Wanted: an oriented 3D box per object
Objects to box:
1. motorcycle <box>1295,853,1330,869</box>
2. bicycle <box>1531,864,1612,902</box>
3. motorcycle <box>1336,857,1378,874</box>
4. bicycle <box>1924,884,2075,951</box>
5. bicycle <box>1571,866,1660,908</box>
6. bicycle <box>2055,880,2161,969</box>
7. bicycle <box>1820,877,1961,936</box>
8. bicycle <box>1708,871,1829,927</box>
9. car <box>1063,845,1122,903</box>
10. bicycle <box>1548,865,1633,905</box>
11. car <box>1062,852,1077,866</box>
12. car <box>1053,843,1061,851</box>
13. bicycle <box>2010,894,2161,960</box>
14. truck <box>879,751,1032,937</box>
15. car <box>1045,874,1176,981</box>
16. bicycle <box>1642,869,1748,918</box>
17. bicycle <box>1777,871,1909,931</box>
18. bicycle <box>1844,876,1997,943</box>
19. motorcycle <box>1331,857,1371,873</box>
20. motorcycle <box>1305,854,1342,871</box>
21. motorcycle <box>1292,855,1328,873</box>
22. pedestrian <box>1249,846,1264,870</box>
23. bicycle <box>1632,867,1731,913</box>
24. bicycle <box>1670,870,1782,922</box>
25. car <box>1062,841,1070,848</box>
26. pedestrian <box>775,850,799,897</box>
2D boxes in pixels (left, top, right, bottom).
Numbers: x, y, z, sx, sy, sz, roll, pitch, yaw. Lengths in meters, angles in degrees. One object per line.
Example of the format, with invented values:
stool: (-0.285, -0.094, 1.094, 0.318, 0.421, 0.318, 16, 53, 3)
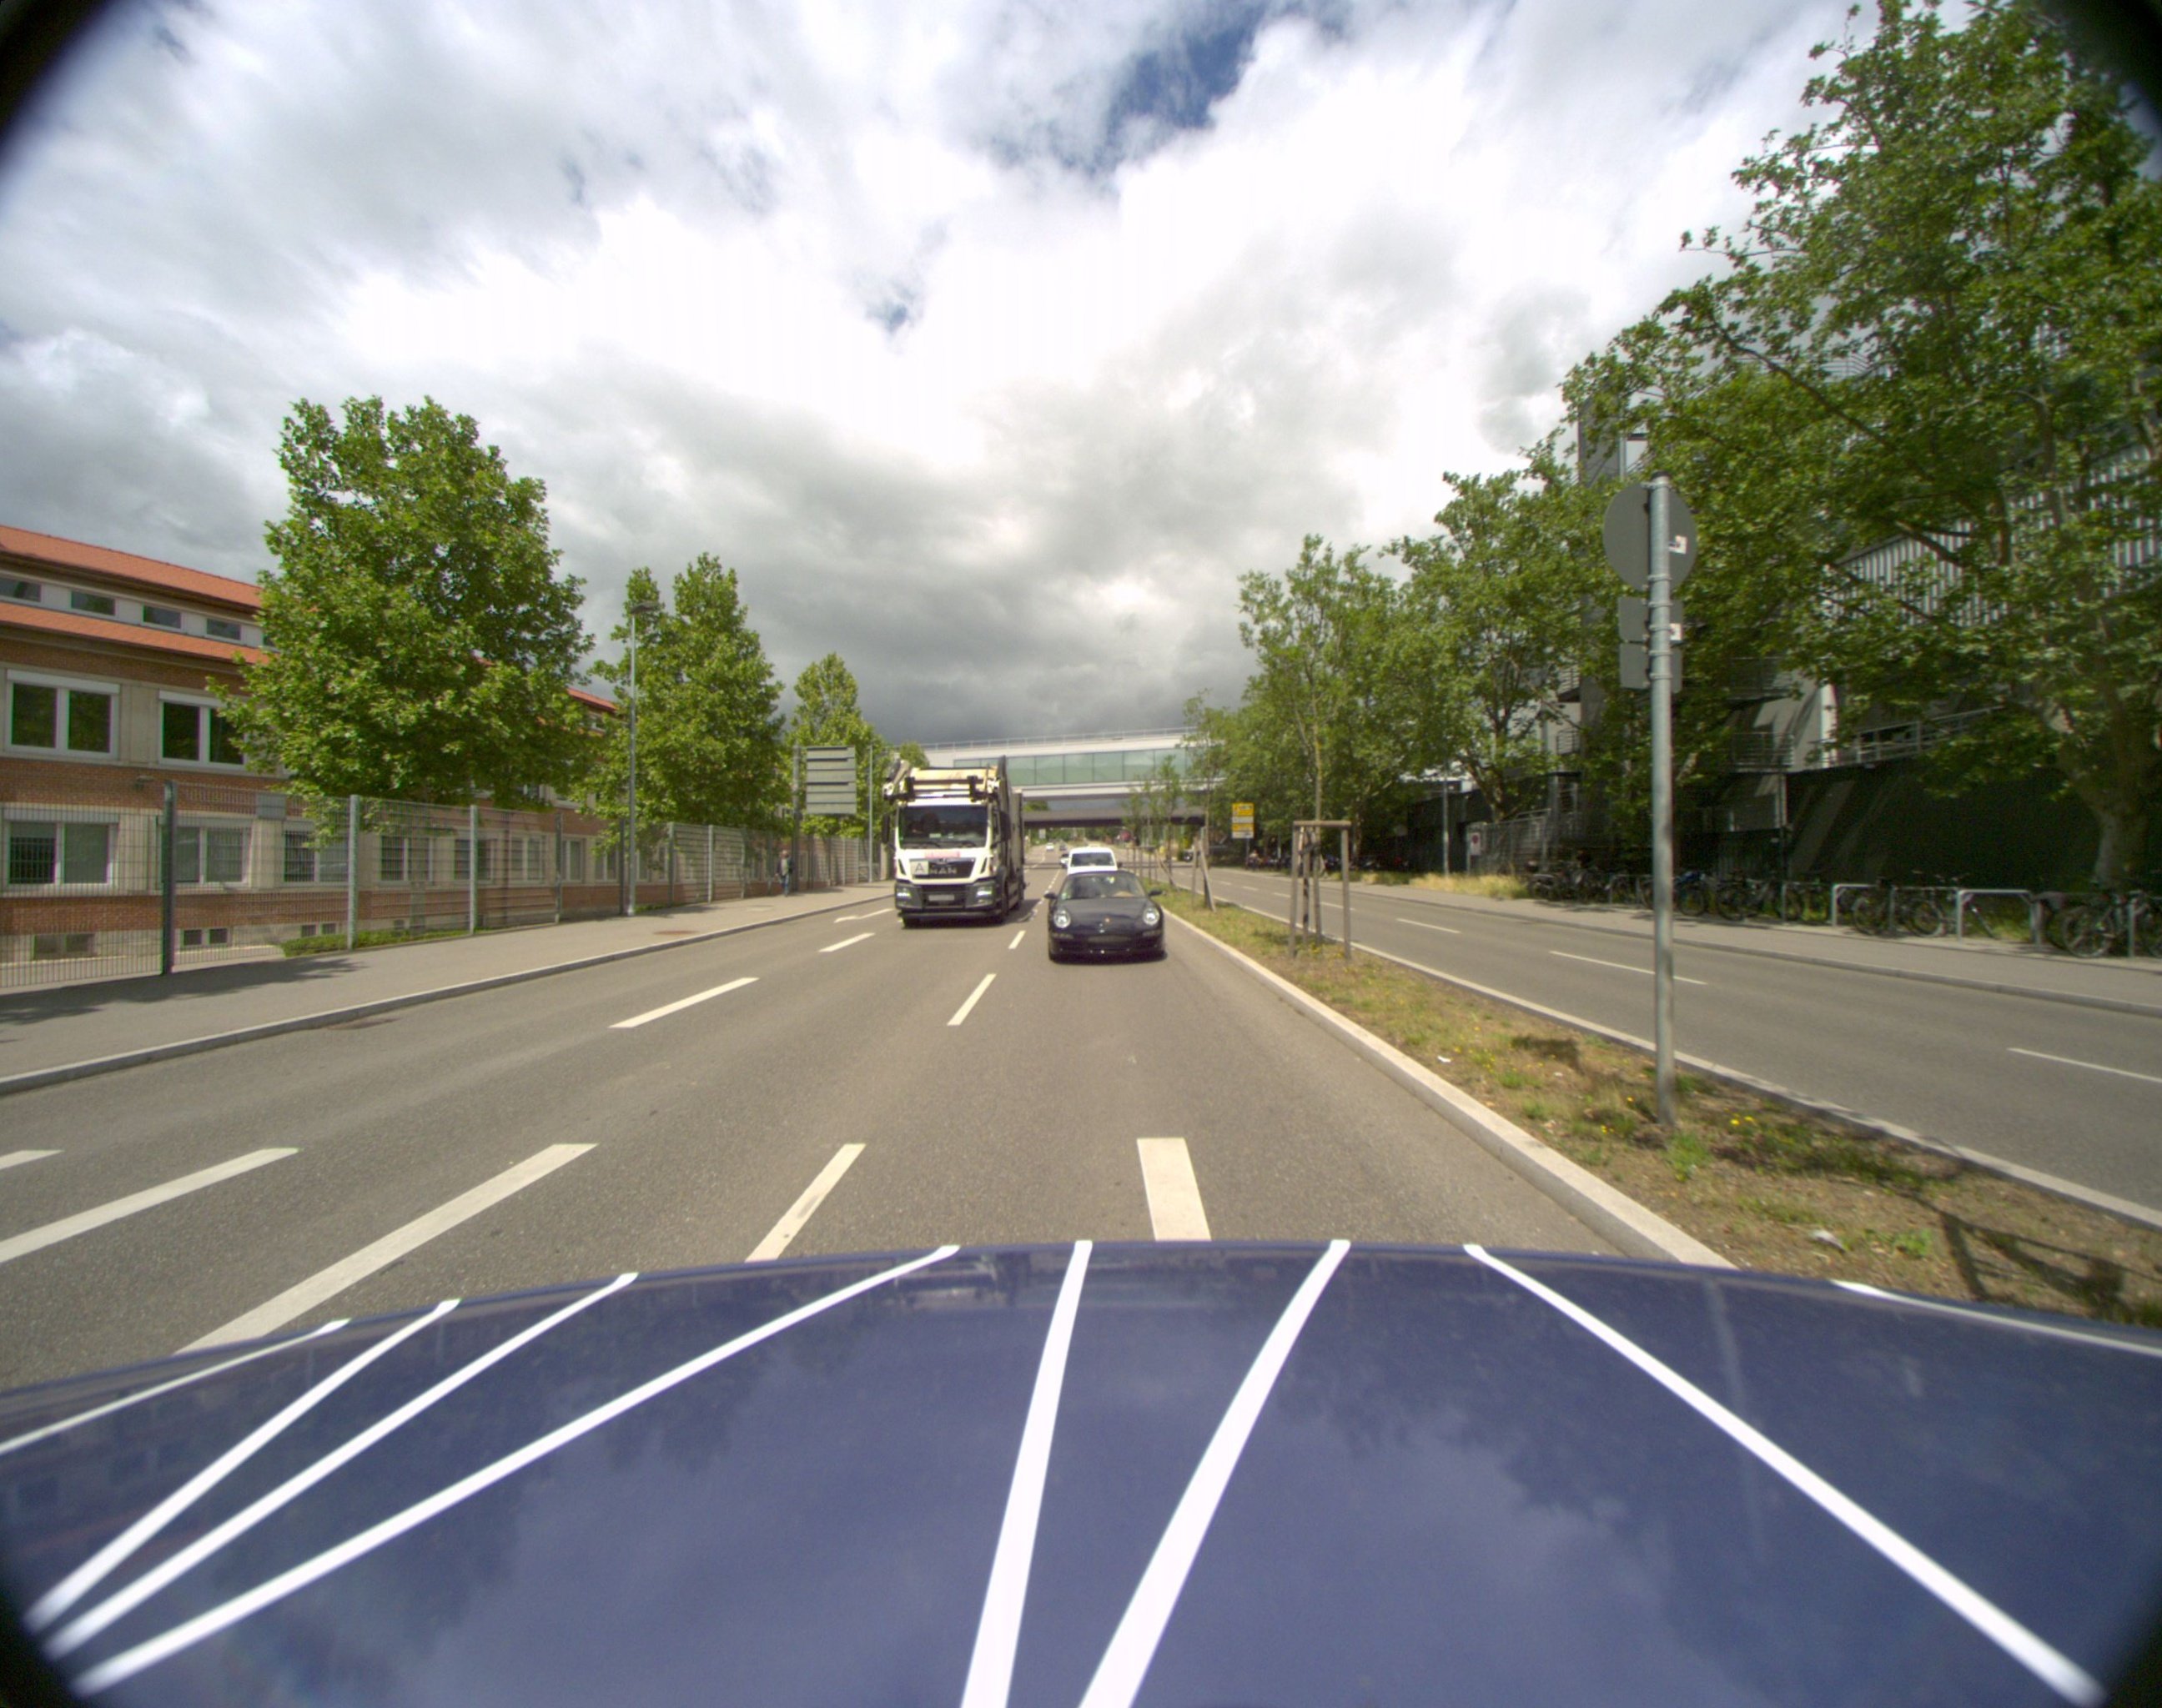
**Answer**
motorcycle: (15.373, 0.461, 50.472, 2.133, 0.963, 0.534, -1, 0, 1)
bicycle: (14.751, 0.867, 22.861, 2.129, 1.104, 0.382, -1, 1, 3)
motorcycle: (15.376, 0.615, 42.406, 2.133, 0.893, 0.534, -1, 0, 1)
bicycle: (14.755, 1.015, 12.218, 1.993, 0.992, 0.382, -1, 1, -1)
bicycle: (14.825, 0.916, 21.096, 2.129, 1.104, 0.382, -1, 1, 3)
bicycle: (14.356, 0.928, 10.236, 1.993, 1.121, 0.382, -1, 1, -1)
bicycle: (15.013, 0.970, 14.113, 2.129, 1.025, 0.382, -1, 1, 3)
bicycle: (14.503, 0.945, 16.059, 2.129, 1.104, 0.382, -1, 1, 3)
car: (0.398, 0.637, 26.803, 1.862, 1.800, 4.906, -1, 0, 1)
bicycle: (14.756, 0.903, 22.020, 2.129, 1.104, 0.382, -1, 1, 3)
car: (-1.470, 0.626, 95.297, 1.746, 1.647, 3.545, -1, 0, 1)
car: (-6.360, -1.757, 204.213, 1.925, 2.082, 4.657, -1, 0, 2)
bicycle: (14.959, 1.072, 11.239, 1.993, 0.885, 0.382, -1, 1, -1)
truck: (-2.994, -0.261, 21.315, 2.495, 3.890, 10.172, -2, 1, 0)
car: (0.417, 1.025, 12.020, 1.710, 1.280, 3.806, -1, 0, 1)
bicycle: (14.507, 0.925, 17.970, 2.129, 1.104, 0.382, -1, 1, 3)
bicycle: (15.044, 0.927, 15.020, 2.129, 1.104, 0.382, -1, 1, 3)
bicycle: (14.580, 0.958, 13.219, 2.129, 1.089, 0.382, -1, 1, 3)
motorcycle: (15.732, 0.615, 44.358, 2.133, 0.880, 0.534, -1, 0, 1)
motorcycle: (15.226, 0.537, 47.678, 2.133, 0.963, 0.534, -1, 0, 1)
motorcycle: (14.772, 0.635, 49.081, 2.133, 1.131, 0.534, -1, 0, 1)
pedestrian: (12.966, 0.306, 56.186, 0.900, 1.710, 0.673, -1, 1, 1)
bicycle: (15.068, 0.896, 19.085, 2.129, 1.104, 0.382, -1, 1, 3)
bicycle: (14.482, 0.933, 17.083, 2.129, 1.104, 0.382, -1, 1, 3)
car: (-4.039, -2.701, 208.240, 1.862, 1.800, 4.357, -3, 0, 1)
pedestrian: (-11.210, 0.737, 28.997, 0.698, 1.772, 0.658, 1, 1, -5)
